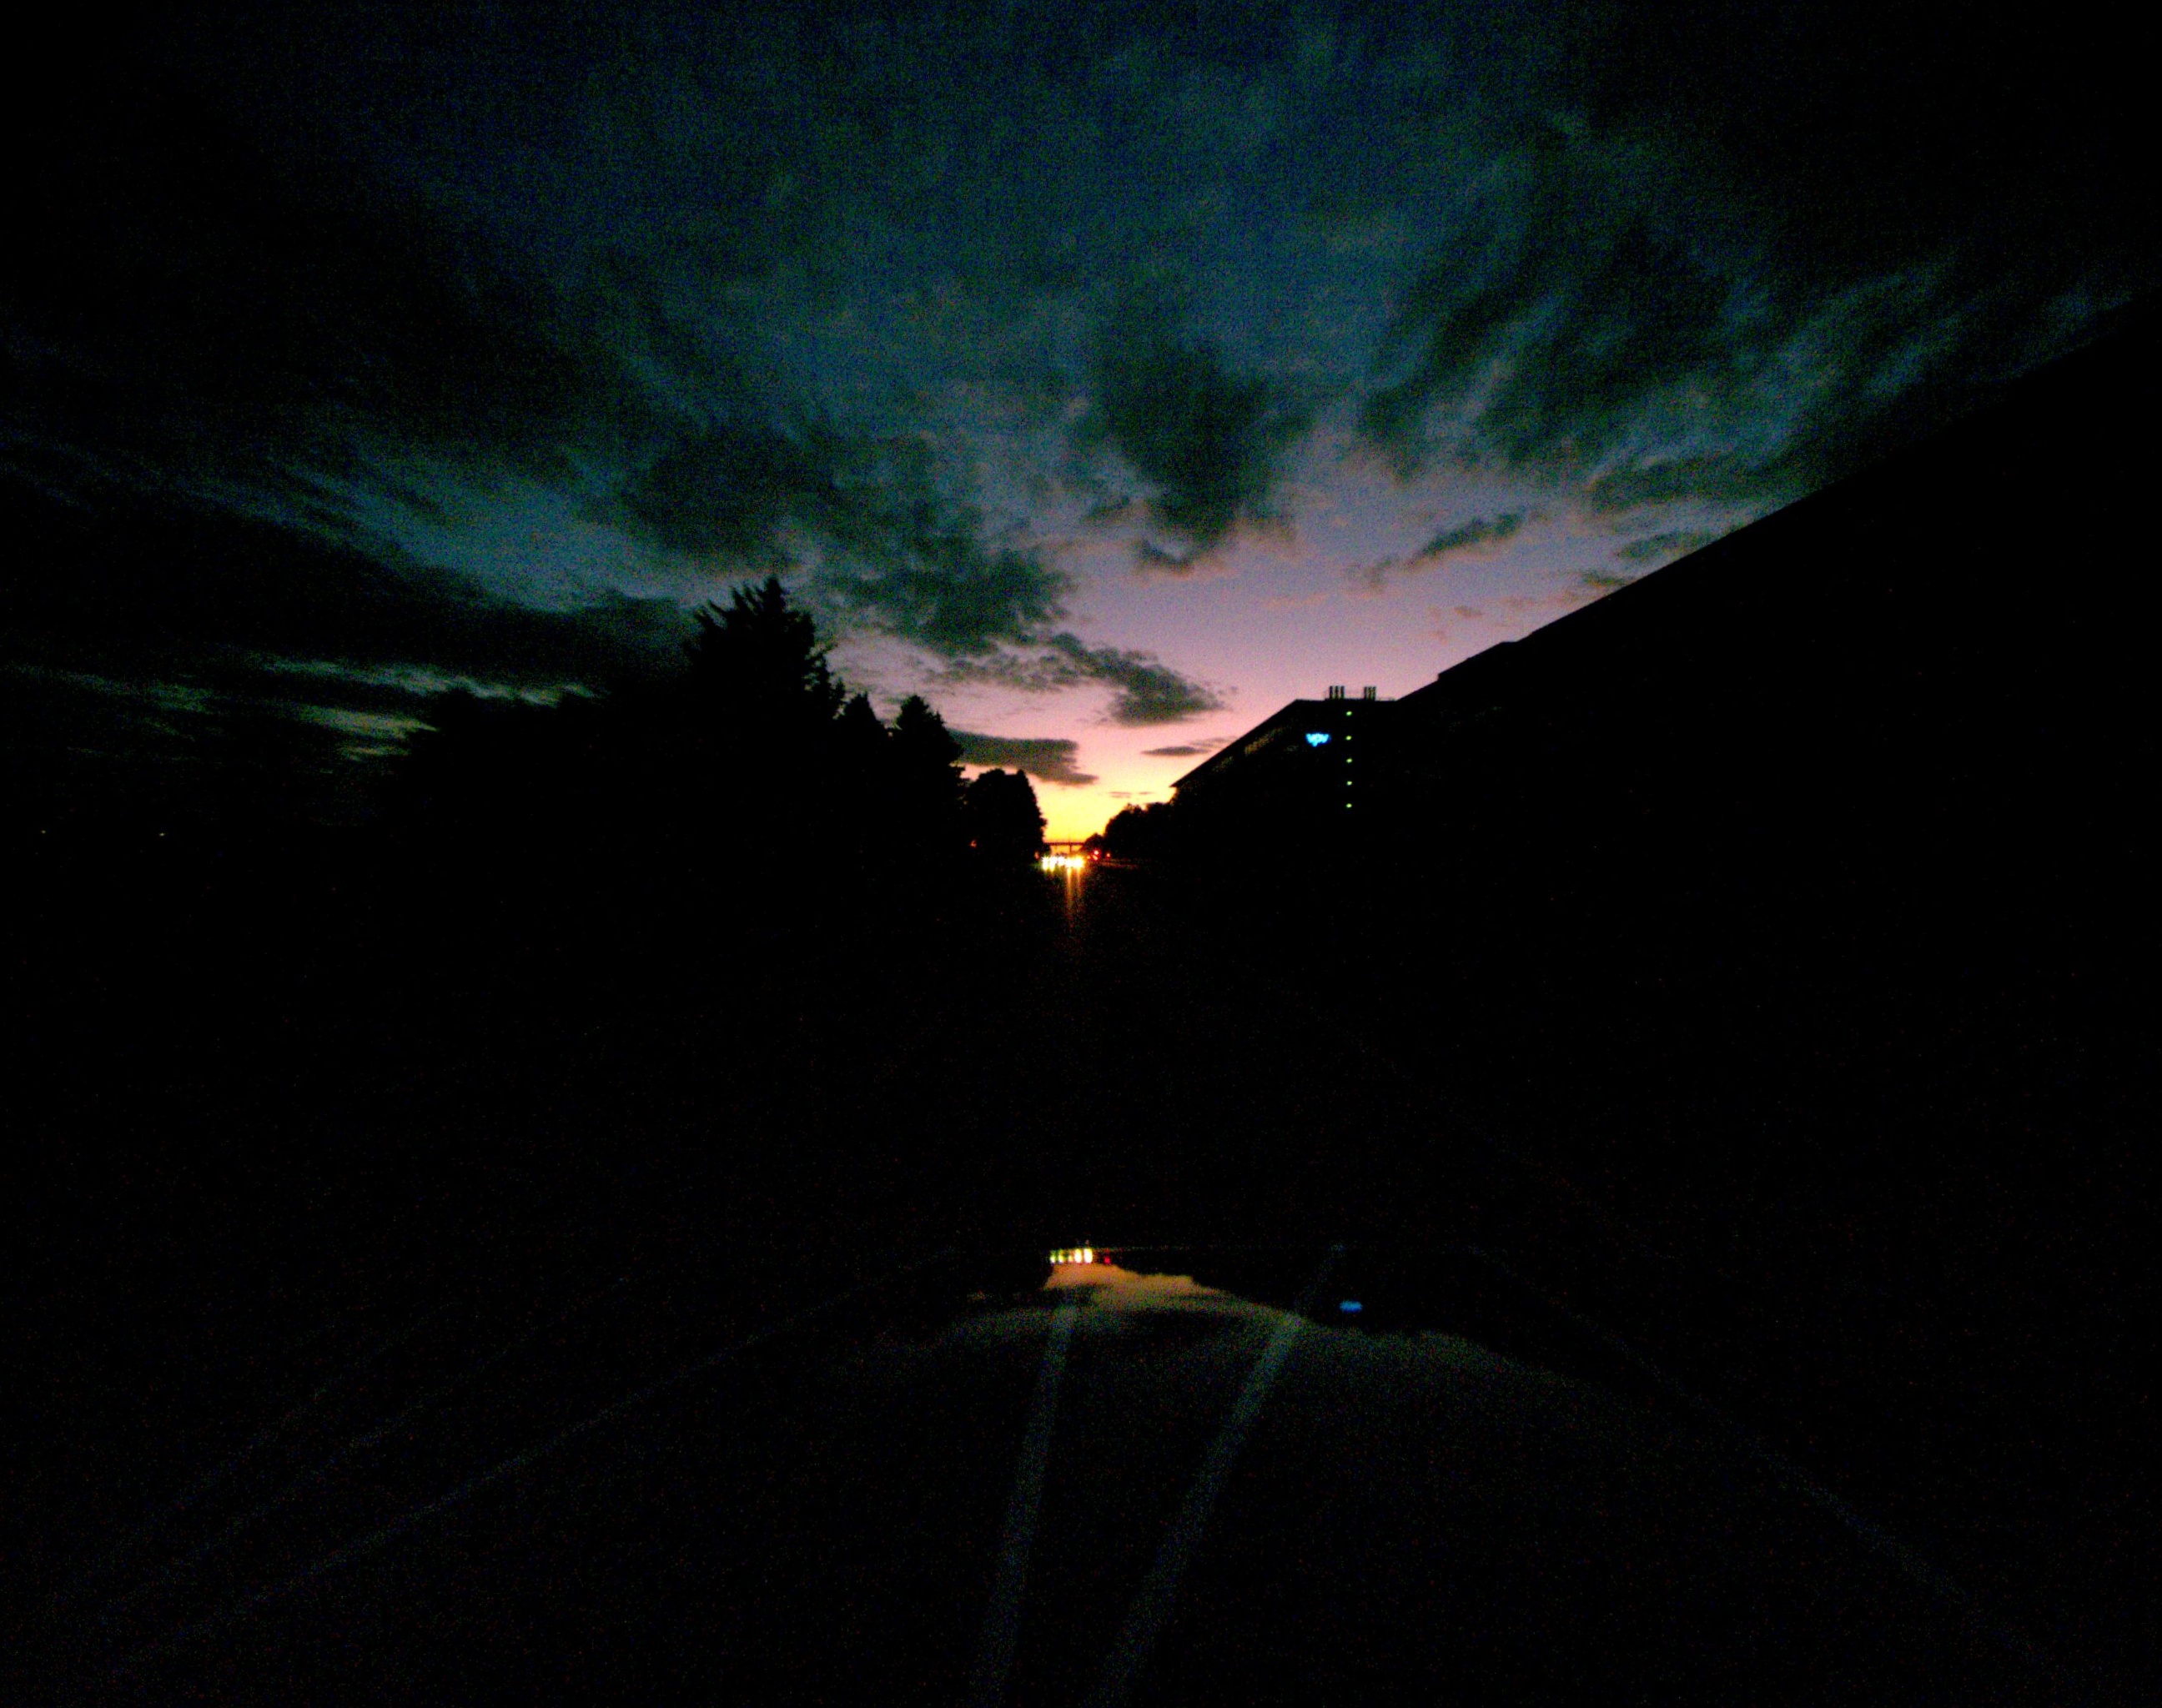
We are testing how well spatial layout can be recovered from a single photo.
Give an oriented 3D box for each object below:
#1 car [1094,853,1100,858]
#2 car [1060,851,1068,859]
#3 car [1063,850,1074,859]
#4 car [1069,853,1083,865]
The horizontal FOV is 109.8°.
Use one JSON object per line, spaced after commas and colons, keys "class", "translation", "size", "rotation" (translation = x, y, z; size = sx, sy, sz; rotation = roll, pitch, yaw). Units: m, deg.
{"class": "car", "translation": [5.099, 0.503, 245.152], "size": [1.693, 1.372, 3.571], "rotation": [-1, 0, -2]}
{"class": "car", "translation": [-4.295, 0.275, 196.486], "size": [1.832, 1.739, 3.851], "rotation": [-3, 0, 1]}
{"class": "car", "translation": [-2.876, 0.156, 177.156], "size": [1.861, 2.002, 4.001], "rotation": [-3, 0, 6]}
{"class": "car", "translation": [-0.649, 0.591, 96.857], "size": [1.756, 1.447, 3.803], "rotation": [-1, 0, 0]}
